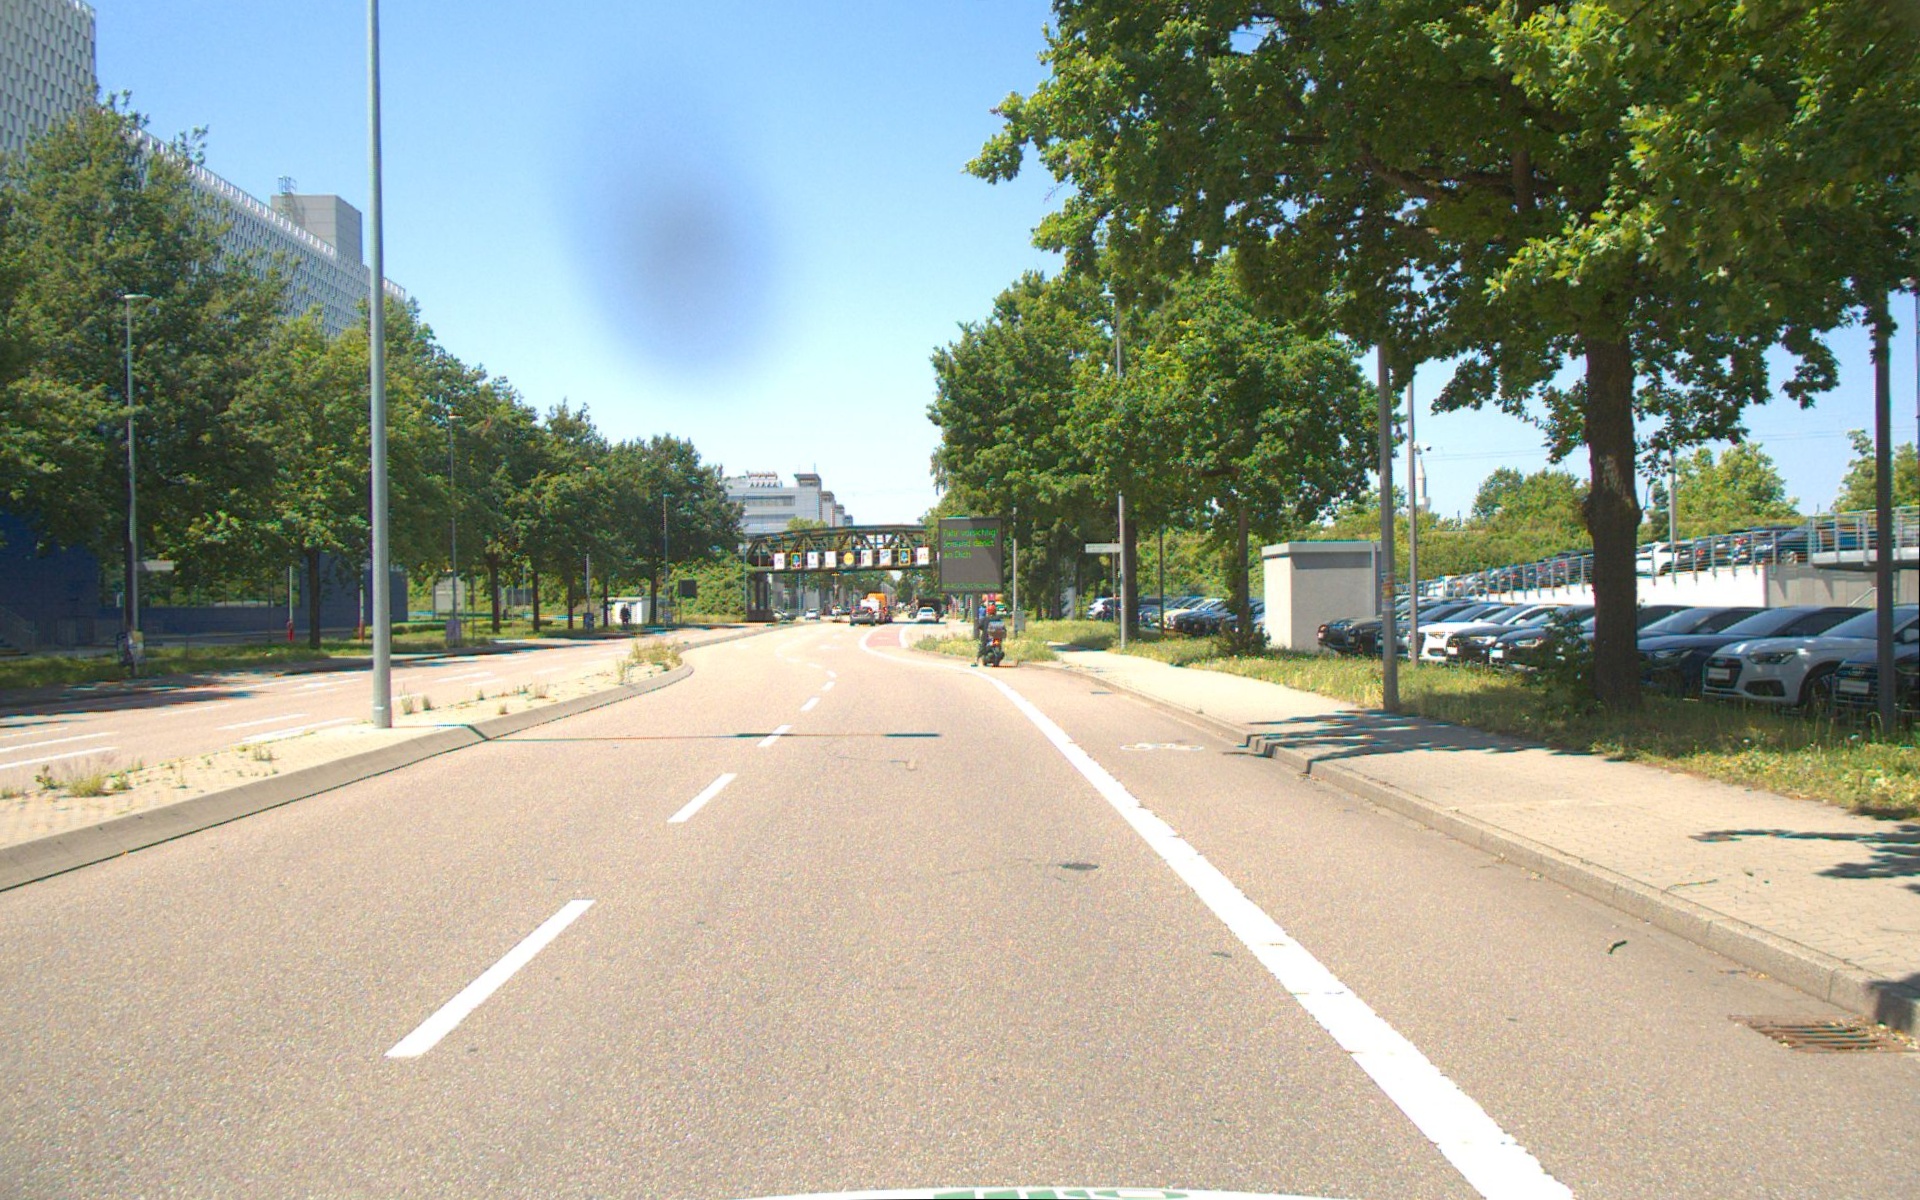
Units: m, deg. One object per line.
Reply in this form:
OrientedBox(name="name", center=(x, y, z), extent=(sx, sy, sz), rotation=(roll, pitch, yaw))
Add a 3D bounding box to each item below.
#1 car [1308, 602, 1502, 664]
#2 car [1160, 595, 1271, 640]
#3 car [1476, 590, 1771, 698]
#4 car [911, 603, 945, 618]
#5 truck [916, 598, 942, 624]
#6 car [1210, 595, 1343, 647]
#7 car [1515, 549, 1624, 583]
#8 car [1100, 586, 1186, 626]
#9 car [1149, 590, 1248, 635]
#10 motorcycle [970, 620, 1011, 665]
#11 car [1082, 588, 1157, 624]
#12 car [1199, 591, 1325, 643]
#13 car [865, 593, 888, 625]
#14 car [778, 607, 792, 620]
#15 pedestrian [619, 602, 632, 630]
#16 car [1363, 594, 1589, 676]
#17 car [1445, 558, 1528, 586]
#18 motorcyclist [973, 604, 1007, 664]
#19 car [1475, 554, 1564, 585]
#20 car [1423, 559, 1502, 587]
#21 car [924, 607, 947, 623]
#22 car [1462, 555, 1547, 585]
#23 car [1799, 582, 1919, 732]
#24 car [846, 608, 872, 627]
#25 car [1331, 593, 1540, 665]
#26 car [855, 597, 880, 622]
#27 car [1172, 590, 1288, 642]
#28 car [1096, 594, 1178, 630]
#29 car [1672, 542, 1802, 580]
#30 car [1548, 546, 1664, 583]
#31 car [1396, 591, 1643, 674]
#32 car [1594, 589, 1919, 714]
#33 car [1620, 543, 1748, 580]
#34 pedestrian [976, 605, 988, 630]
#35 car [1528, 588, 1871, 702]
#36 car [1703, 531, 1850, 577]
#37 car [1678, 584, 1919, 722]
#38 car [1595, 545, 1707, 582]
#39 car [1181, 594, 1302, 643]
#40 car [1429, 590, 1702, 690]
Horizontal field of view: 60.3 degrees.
OrientedBox(name="car", center=(10.685, 0.783, 39.927), extent=(4.136, 1.365, 1.917), rotation=(1, 0, -2))
OrientedBox(name="car", center=(10.076, 0.692, 65.333), extent=(3.911, 1.447, 1.795), rotation=(5, -1, -6))
OrientedBox(name="car", center=(10.797, 0.701, 27.103), extent=(4.047, 1.404, 1.778), rotation=(4, 0, -2))
OrientedBox(name="car", center=(-3.906, 1.228, 202.075), extent=(3.903, 1.780, 1.893), rotation=(-1, 0, 3))
OrientedBox(name="truck", center=(-3.044, 1.037, 162.240), extent=(2.409, 2.452, 7.131), rotation=(1, 0, -2))
OrientedBox(name="car", center=(10.421, 0.680, 54.654), extent=(3.911, 1.401, 1.795), rotation=(5, -1, -6))
OrientedBox(name="car", center=(25.568, -1.425, 69.494), extent=(3.910, 1.334, 1.795), rotation=(-1, 0, -6))
OrientedBox(name="car", center=(8.906, 0.303, 80.542), extent=(3.787, 1.632, 1.795), rotation=(5, -1, -6))
OrientedBox(name="car", center=(10.150, 0.532, 70.581), extent=(3.787, 1.632, 1.795), rotation=(5, -1, -6))
OrientedBox(name="motorcycle", center=(0.783, 1.101, 43.042), extent=(0.703, 1.124, 1.825), rotation=(1, -1, -11))
OrientedBox(name="car", center=(8.796, 0.335, 91.501), extent=(3.787, 1.632, 1.795), rotation=(5, -1, -6))
OrientedBox(name="car", center=(10.463, 0.584, 57.445), extent=(3.911, 1.465, 1.795), rotation=(5, -1, -6))
OrientedBox(name="car", center=(-7.703, 0.820, 153.605), extent=(2.031, 2.904, 6.761), rotation=(-1, 0, -2))
OrientedBox(name="car", center=(-24.081, 1.905, 227.416), extent=(1.682, 1.763, 3.803), rotation=(-1, 0, -4))
OrientedBox(name="pedestrian", center=(-22.729, 1.078, 112.335), extent=(0.728, 1.917, 0.577), rotation=(-1, 0, -1))
OrientedBox(name="car", center=(10.865, 0.732, 35.043), extent=(4.136, 1.478, 1.917), rotation=(3, 0, -2))
OrientedBox(name="car", center=(25.329, -1.334, 79.603), extent=(3.454, 1.261, 1.540), rotation=(1, 0, -4))
OrientedBox(name="motorcyclist", center=(0.779, 0.878, 43.087), extent=(0.706, 1.556, 0.868), rotation=(1, -1, -11))
OrientedBox(name="car", center=(25.372, -1.374, 75.054), extent=(3.454, 1.261, 1.609), rotation=(1, 0, -4))
OrientedBox(name="car", center=(25.086, -1.346, 82.614), extent=(3.453, 1.261, 1.541), rotation=(1, 0, -3))
OrientedBox(name="car", center=(-2.209, 1.320, 147.520), extent=(1.885, 1.445, 3.998), rotation=(0, 0, -2))
OrientedBox(name="car", center=(25.504, -1.395, 77.536), extent=(3.454, 1.261, 1.609), rotation=(1, 0, -4))
OrientedBox(name="car", center=(11.141, 0.661, 16.908), extent=(4.136, 1.431, 1.917), rotation=(3, 0, -2))
OrientedBox(name="car", center=(-7.604, 1.323, 124.778), extent=(1.862, 1.400, 4.229), rotation=(-1, 0, -2))
OrientedBox(name="car", center=(10.716, 0.643, 37.458), extent=(4.136, 1.365, 1.917), rotation=(3, 0, -2))
OrientedBox(name="car", center=(-7.538, 0.788, 135.321), extent=(1.953, 2.049, 3.998), rotation=(0, 0, -2))
OrientedBox(name="car", center=(10.201, 0.601, 62.543), extent=(3.911, 1.652, 1.795), rotation=(5, -1, -6))
OrientedBox(name="car", center=(8.936, 0.612, 83.487), extent=(3.787, 1.632, 1.795), rotation=(2, -1, -6))
OrientedBox(name="car", center=(26.256, -1.311, 55.939), extent=(3.653, 1.150, 1.682), rotation=(1, 0, -6))
OrientedBox(name="car", center=(25.777, -1.389, 66.060), extent=(3.910, 1.335, 1.795), rotation=(1, 0, -6))
OrientedBox(name="car", center=(10.892, 0.628, 32.405), extent=(4.136, 1.365, 1.917), rotation=(3, 0, -2))
OrientedBox(name="car", center=(10.854, 0.677, 21.926), extent=(4.136, 1.432, 1.917), rotation=(3, 0, -2))
OrientedBox(name="car", center=(25.751, -1.360, 58.864), extent=(3.863, 1.232, 1.715), rotation=(0, 0, -6))
OrientedBox(name="pedestrian", center=(1.215, 0.984, 92.268), extent=(0.611, 1.398, 0.564), rotation=(0, 0, -3))
OrientedBox(name="car", center=(10.833, 0.646, 24.430), extent=(4.136, 1.393, 1.988), rotation=(3, 0, -2))
OrientedBox(name="car", center=(26.354, -1.457, 53.432), extent=(3.910, 1.335, 1.795), rotation=(1, 0, -6))
OrientedBox(name="car", center=(10.932, 0.655, 19.404), extent=(4.136, 1.431, 1.917), rotation=(3, 0, -2))
OrientedBox(name="car", center=(25.694, -1.334, 61.569), extent=(3.455, 1.261, 1.674), rotation=(1, 0, -6))
OrientedBox(name="car", center=(10.167, 0.661, 59.879), extent=(3.911, 1.465, 1.795), rotation=(5, -1, -6))
OrientedBox(name="car", center=(10.850, 0.703, 29.824), extent=(4.137, 1.409, 1.917), rotation=(5, 0, -2))
